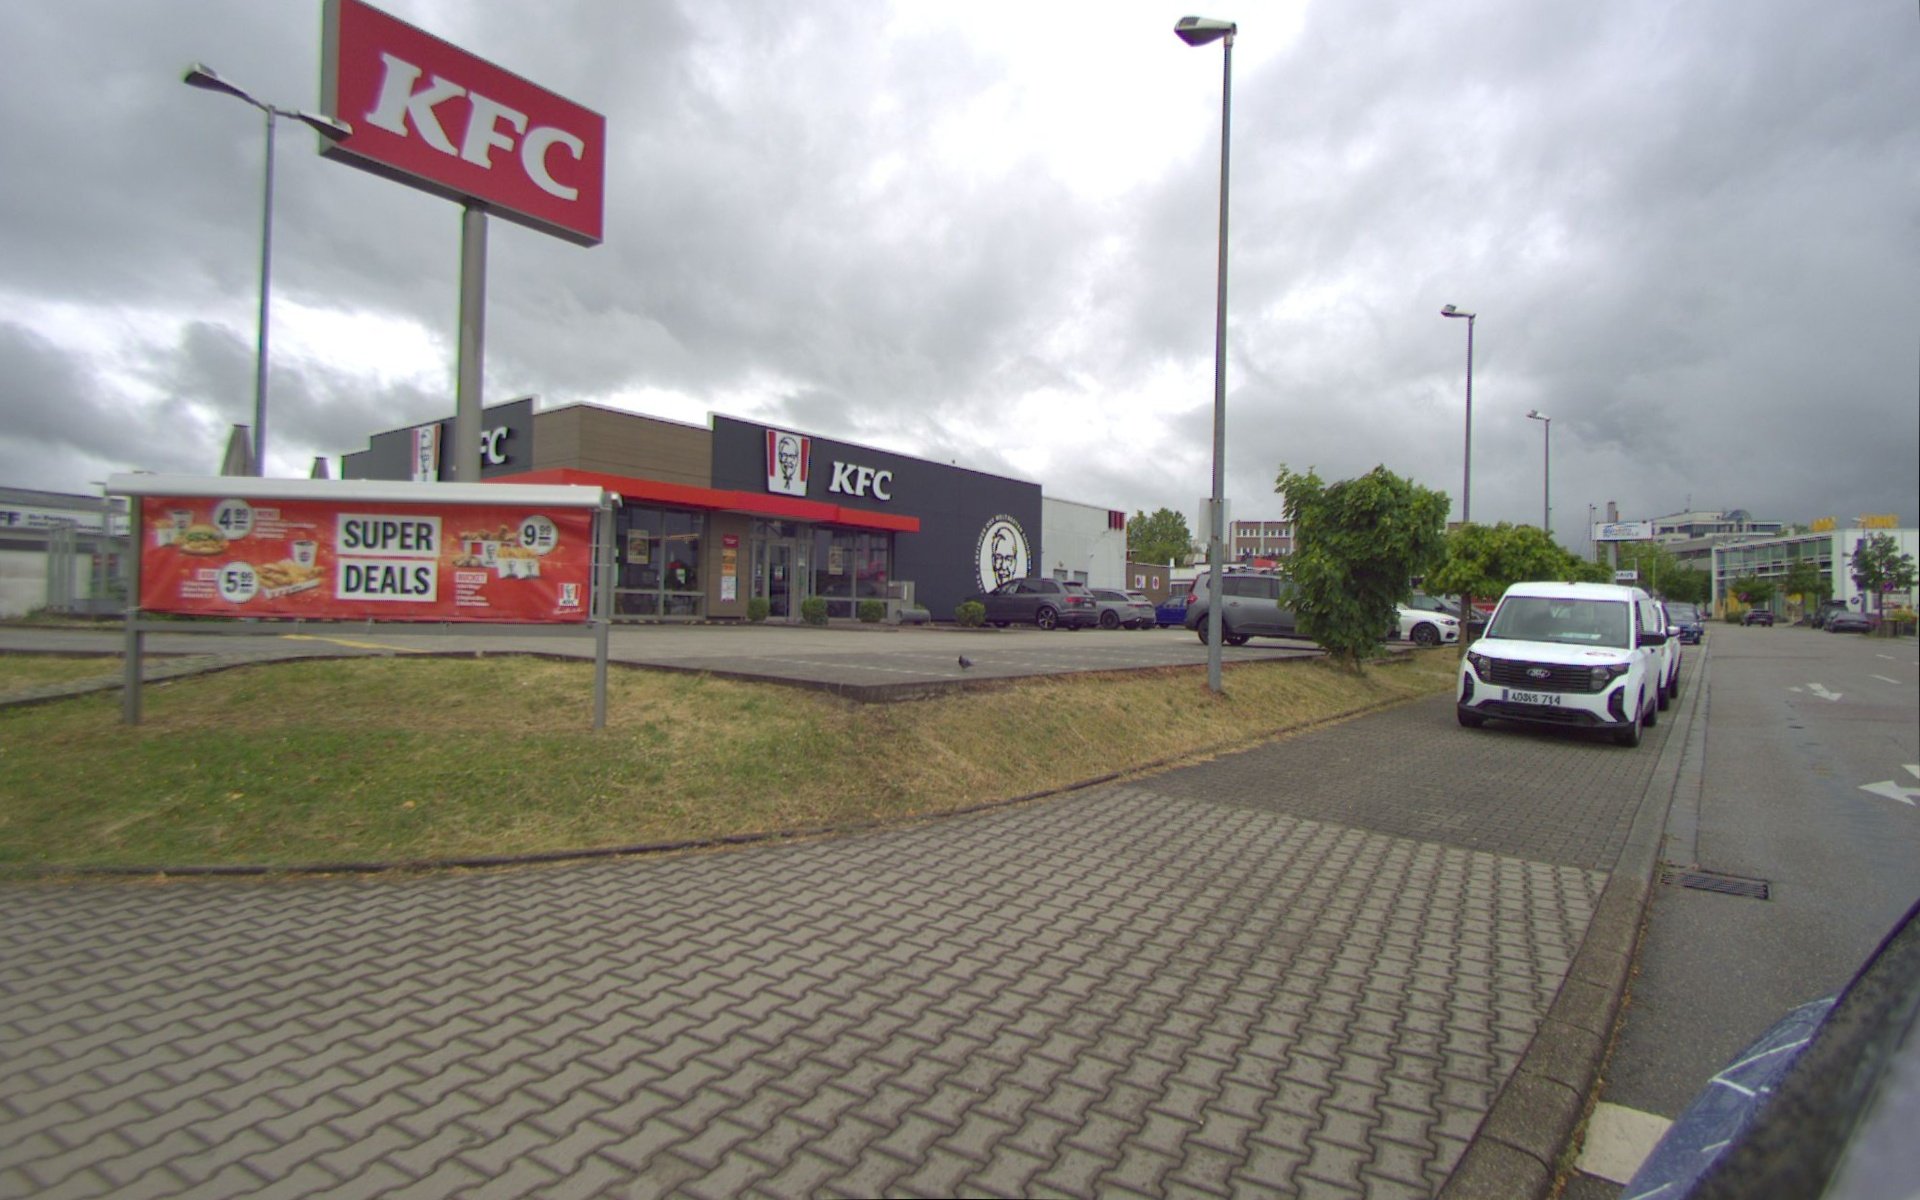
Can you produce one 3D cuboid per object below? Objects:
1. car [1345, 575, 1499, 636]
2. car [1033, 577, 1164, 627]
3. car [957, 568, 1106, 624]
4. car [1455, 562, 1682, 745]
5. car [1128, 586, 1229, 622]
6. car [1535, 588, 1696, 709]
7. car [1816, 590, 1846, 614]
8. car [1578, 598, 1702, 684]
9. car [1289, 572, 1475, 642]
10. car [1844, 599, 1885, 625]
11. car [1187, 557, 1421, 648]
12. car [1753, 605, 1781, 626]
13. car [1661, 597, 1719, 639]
[{"bbox_3d":[14.533,0.145,31.903,4.161,1.797,1.857,0,0,37],"label":"car"},{"bbox_3d":[5.121,0.045,37.657,4.472,1.762,1.869,0,0,35],"label":"car"},{"bbox_3d":[2.341,-0.127,33.870,4.711,1.762,1.869,0,0,35],"label":"car"},{"bbox_3d":[7.540,0.510,12.339,1.790,1.805,4.189,3,2,39],"label":"car"},{"bbox_3d":[9.510,0.137,44.162,4.005,1.505,1.721,1,0,32],"label":"car"},{"bbox_3d":[10.814,0.687,16.578,1.815,1.730,3.943,0,0,39],"label":"car"},{"bbox_3d":[67.256,0.143,78.182,1.560,1.841,3.851,-1,0,39],"label":"car"},{"bbox_3d":[14.299,0.766,21.203,1.815,1.619,3.943,0,0,39],"label":"car"},{"bbox_3d":[11.583,0.166,27.870,4.472,1.762,1.869,0,0,35],"label":"car"},{"bbox_3d":[59.154,0.761,66.202,1.793,1.693,3.616,-1,0,39],"label":"car"},{"bbox_3d":[7.343,0.034,21.781,4.472,1.762,1.869,0,0,35],"label":"car"},{"bbox_3d":[69.895,1.303,87.655,1.893,1.787,3.943,-1,0,39],"label":"car"},{"bbox_3d":[31.725,0.751,43.929,1.815,1.730,3.943,0,0,39],"label":"car"}]
